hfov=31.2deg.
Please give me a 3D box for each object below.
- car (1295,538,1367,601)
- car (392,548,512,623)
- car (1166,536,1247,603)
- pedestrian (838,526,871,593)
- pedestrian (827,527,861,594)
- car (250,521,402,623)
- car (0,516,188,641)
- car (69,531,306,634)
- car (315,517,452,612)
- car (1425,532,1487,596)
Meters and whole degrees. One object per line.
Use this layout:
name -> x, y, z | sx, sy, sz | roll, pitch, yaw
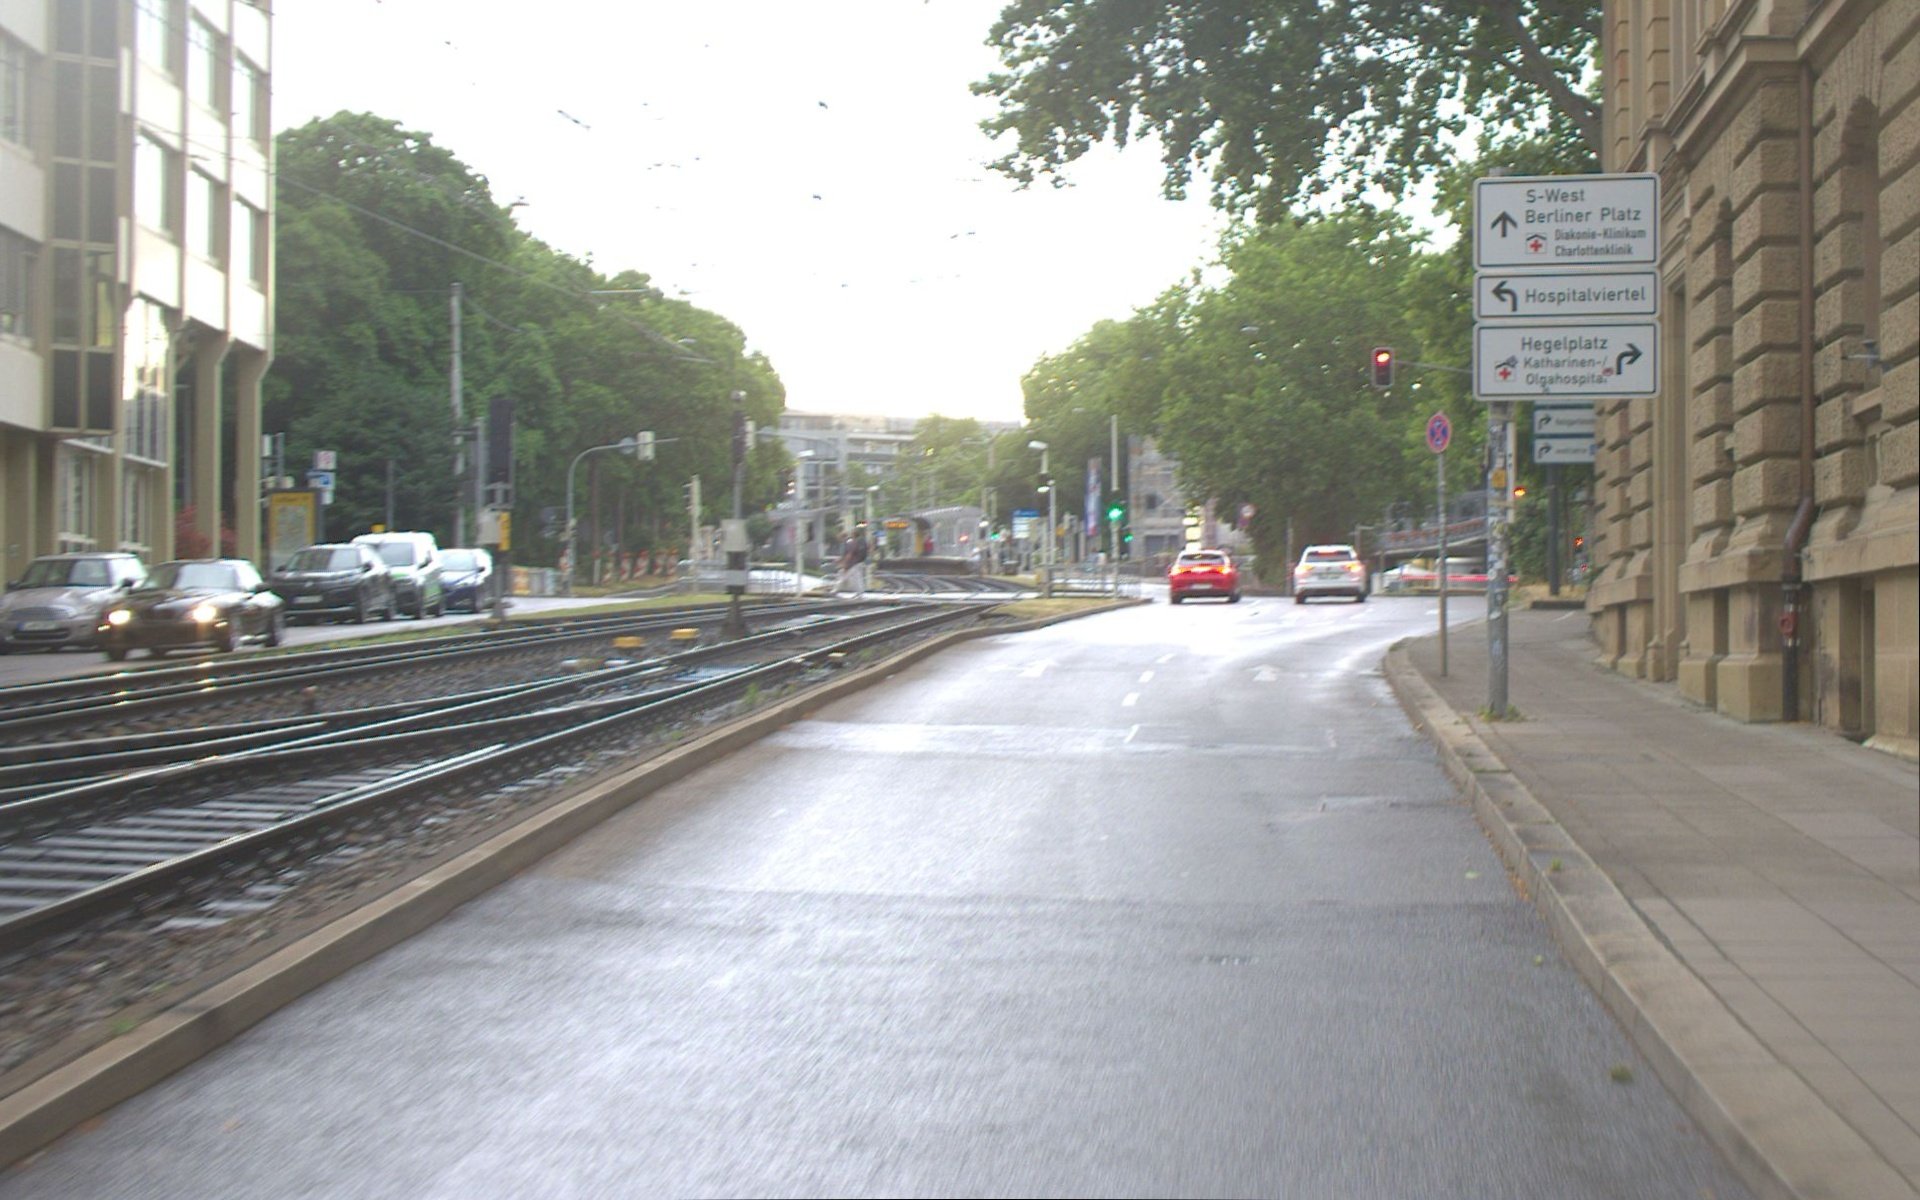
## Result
car -> 9.460, -0.784, 87.510 | 1.679, 1.571, 4.252 | 0, 1, 8
car -> -11.490, -0.307, 78.034 | 1.993, 1.577, 4.549 | 2, 0, 0
car -> 6.576, -0.791, 91.366 | 1.981, 1.634, 4.416 | 2, 0, 5
pedestrian -> -2.834, -1.078, 92.449 | 0.638, 1.781, 0.811 | 2, 0, -15
pedestrian -> -3.140, -1.076, 93.316 | 0.638, 1.781, 0.811 | 2, 0, -20
car -> -12.176, -0.512, 66.326 | 1.993, 1.844, 4.695 | 2, 0, 0
car -> -12.725, -0.296, 49.691 | 1.993, 1.668, 4.695 | 2, 0, 0
car -> -9.915, -0.208, 44.490 | 1.993, 1.251, 4.695 | 0, 0, 0
car -> -11.976, -0.707, 71.720 | 1.993, 1.844, 4.695 | 2, 0, 0
car -> 25.477, -1.808, 176.746 | 2.545, 3.123, 5.030 | 2, 0, 3
